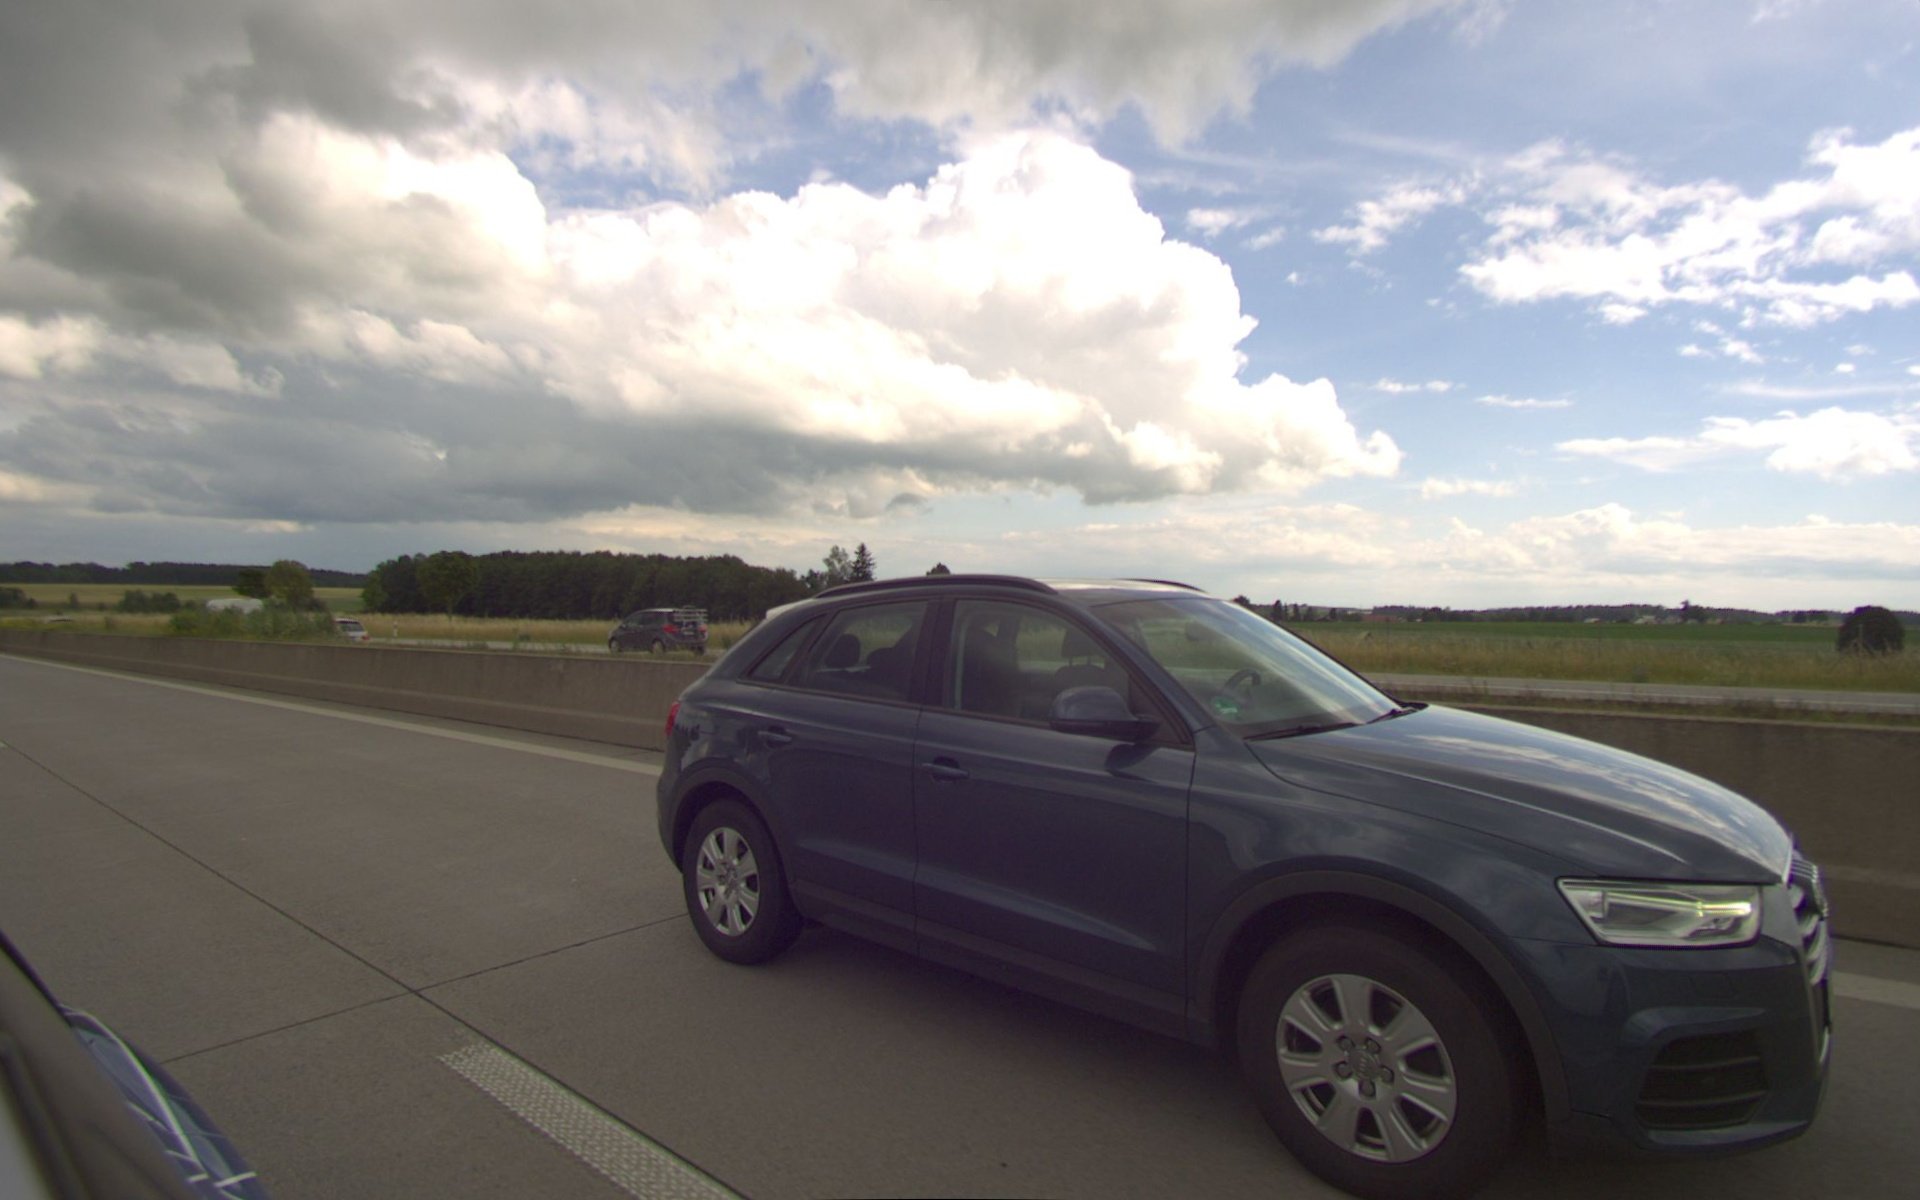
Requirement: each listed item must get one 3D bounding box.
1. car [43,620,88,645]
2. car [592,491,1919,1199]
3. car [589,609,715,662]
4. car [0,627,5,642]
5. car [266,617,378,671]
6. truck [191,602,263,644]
[{"bbox_3d":[-55.285,1.997,62.528,4.220,1.471,1.557,-1,-1,41],"label":"car"},{"bbox_3d":[0.875,0.631,3.618,5.152,1.608,1.775,-1,0,40],"label":"car"},{"bbox_3d":[-10.501,1.156,34.305,4.941,1.653,1.731,-1,-1,41],"label":"car"},{"bbox_3d":[-97.840,3.509,102.060,3.997,1.475,1.837,-1,-1,40],"label":"car"},{"bbox_3d":[-20.852,1.379,32.994,5.037,1.549,1.706,0,0,41],"label":"car"},{"bbox_3d":[-47.956,1.458,66.154,7.443,2.586,2.122,0,0,40],"label":"truck"}]
